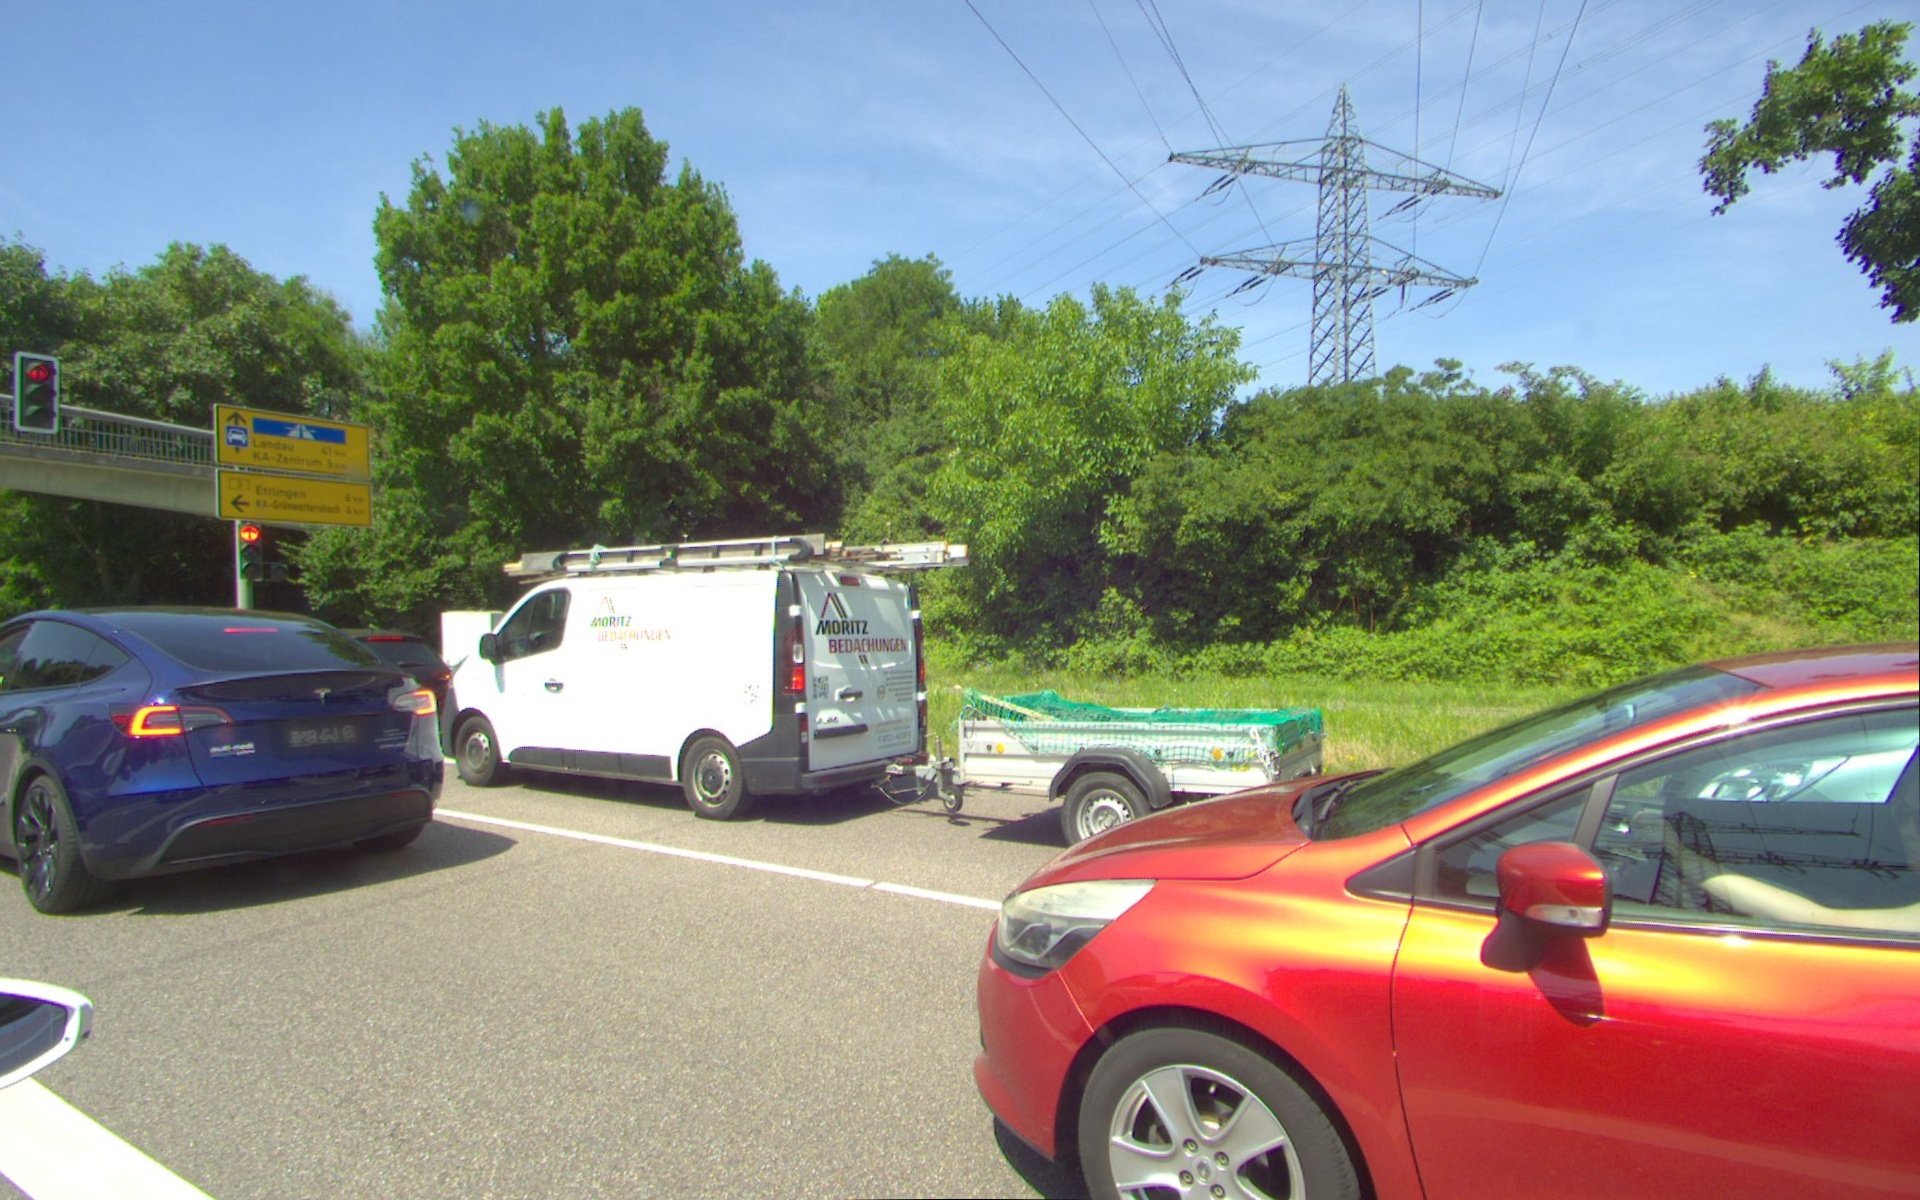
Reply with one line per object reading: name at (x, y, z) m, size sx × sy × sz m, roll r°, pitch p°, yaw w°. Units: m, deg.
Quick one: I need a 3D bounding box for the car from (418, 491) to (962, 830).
car at (-2.608, 0.481, 9.174) m, size 5.002 × 2.379 × 1.929 m, roll -1°, pitch -1°, yaw 32°

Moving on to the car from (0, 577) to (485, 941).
car at (-5.325, 0.775, 6.594) m, size 4.455 × 1.665 × 1.897 m, roll -1°, pitch -1°, yaw 32°

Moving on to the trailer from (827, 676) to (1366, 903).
trailer at (0.899, 1.119, 6.876) m, size 3.276 × 1.019 × 1.703 m, roll -1°, pitch -1°, yaw 32°

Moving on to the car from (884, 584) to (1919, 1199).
car at (1.961, 0.738, 2.171) m, size 4.006 × 1.480 × 1.740 m, roll -1°, pitch -1°, yaw 32°

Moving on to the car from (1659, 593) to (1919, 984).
car at (5.497, 0.773, 4.201) m, size 4.105 × 1.616 × 1.761 m, roll -1°, pitch 0°, yaw 32°

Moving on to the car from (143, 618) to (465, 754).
car at (-8.582, 0.998, 13.015) m, size 4.318 × 1.497 × 1.897 m, roll -1°, pitch -2°, yaw 32°

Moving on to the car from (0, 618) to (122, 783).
car at (-10.367, 0.932, 10.062) m, size 3.882 × 1.497 × 1.897 m, roll -1°, pitch -2°, yaw 32°
